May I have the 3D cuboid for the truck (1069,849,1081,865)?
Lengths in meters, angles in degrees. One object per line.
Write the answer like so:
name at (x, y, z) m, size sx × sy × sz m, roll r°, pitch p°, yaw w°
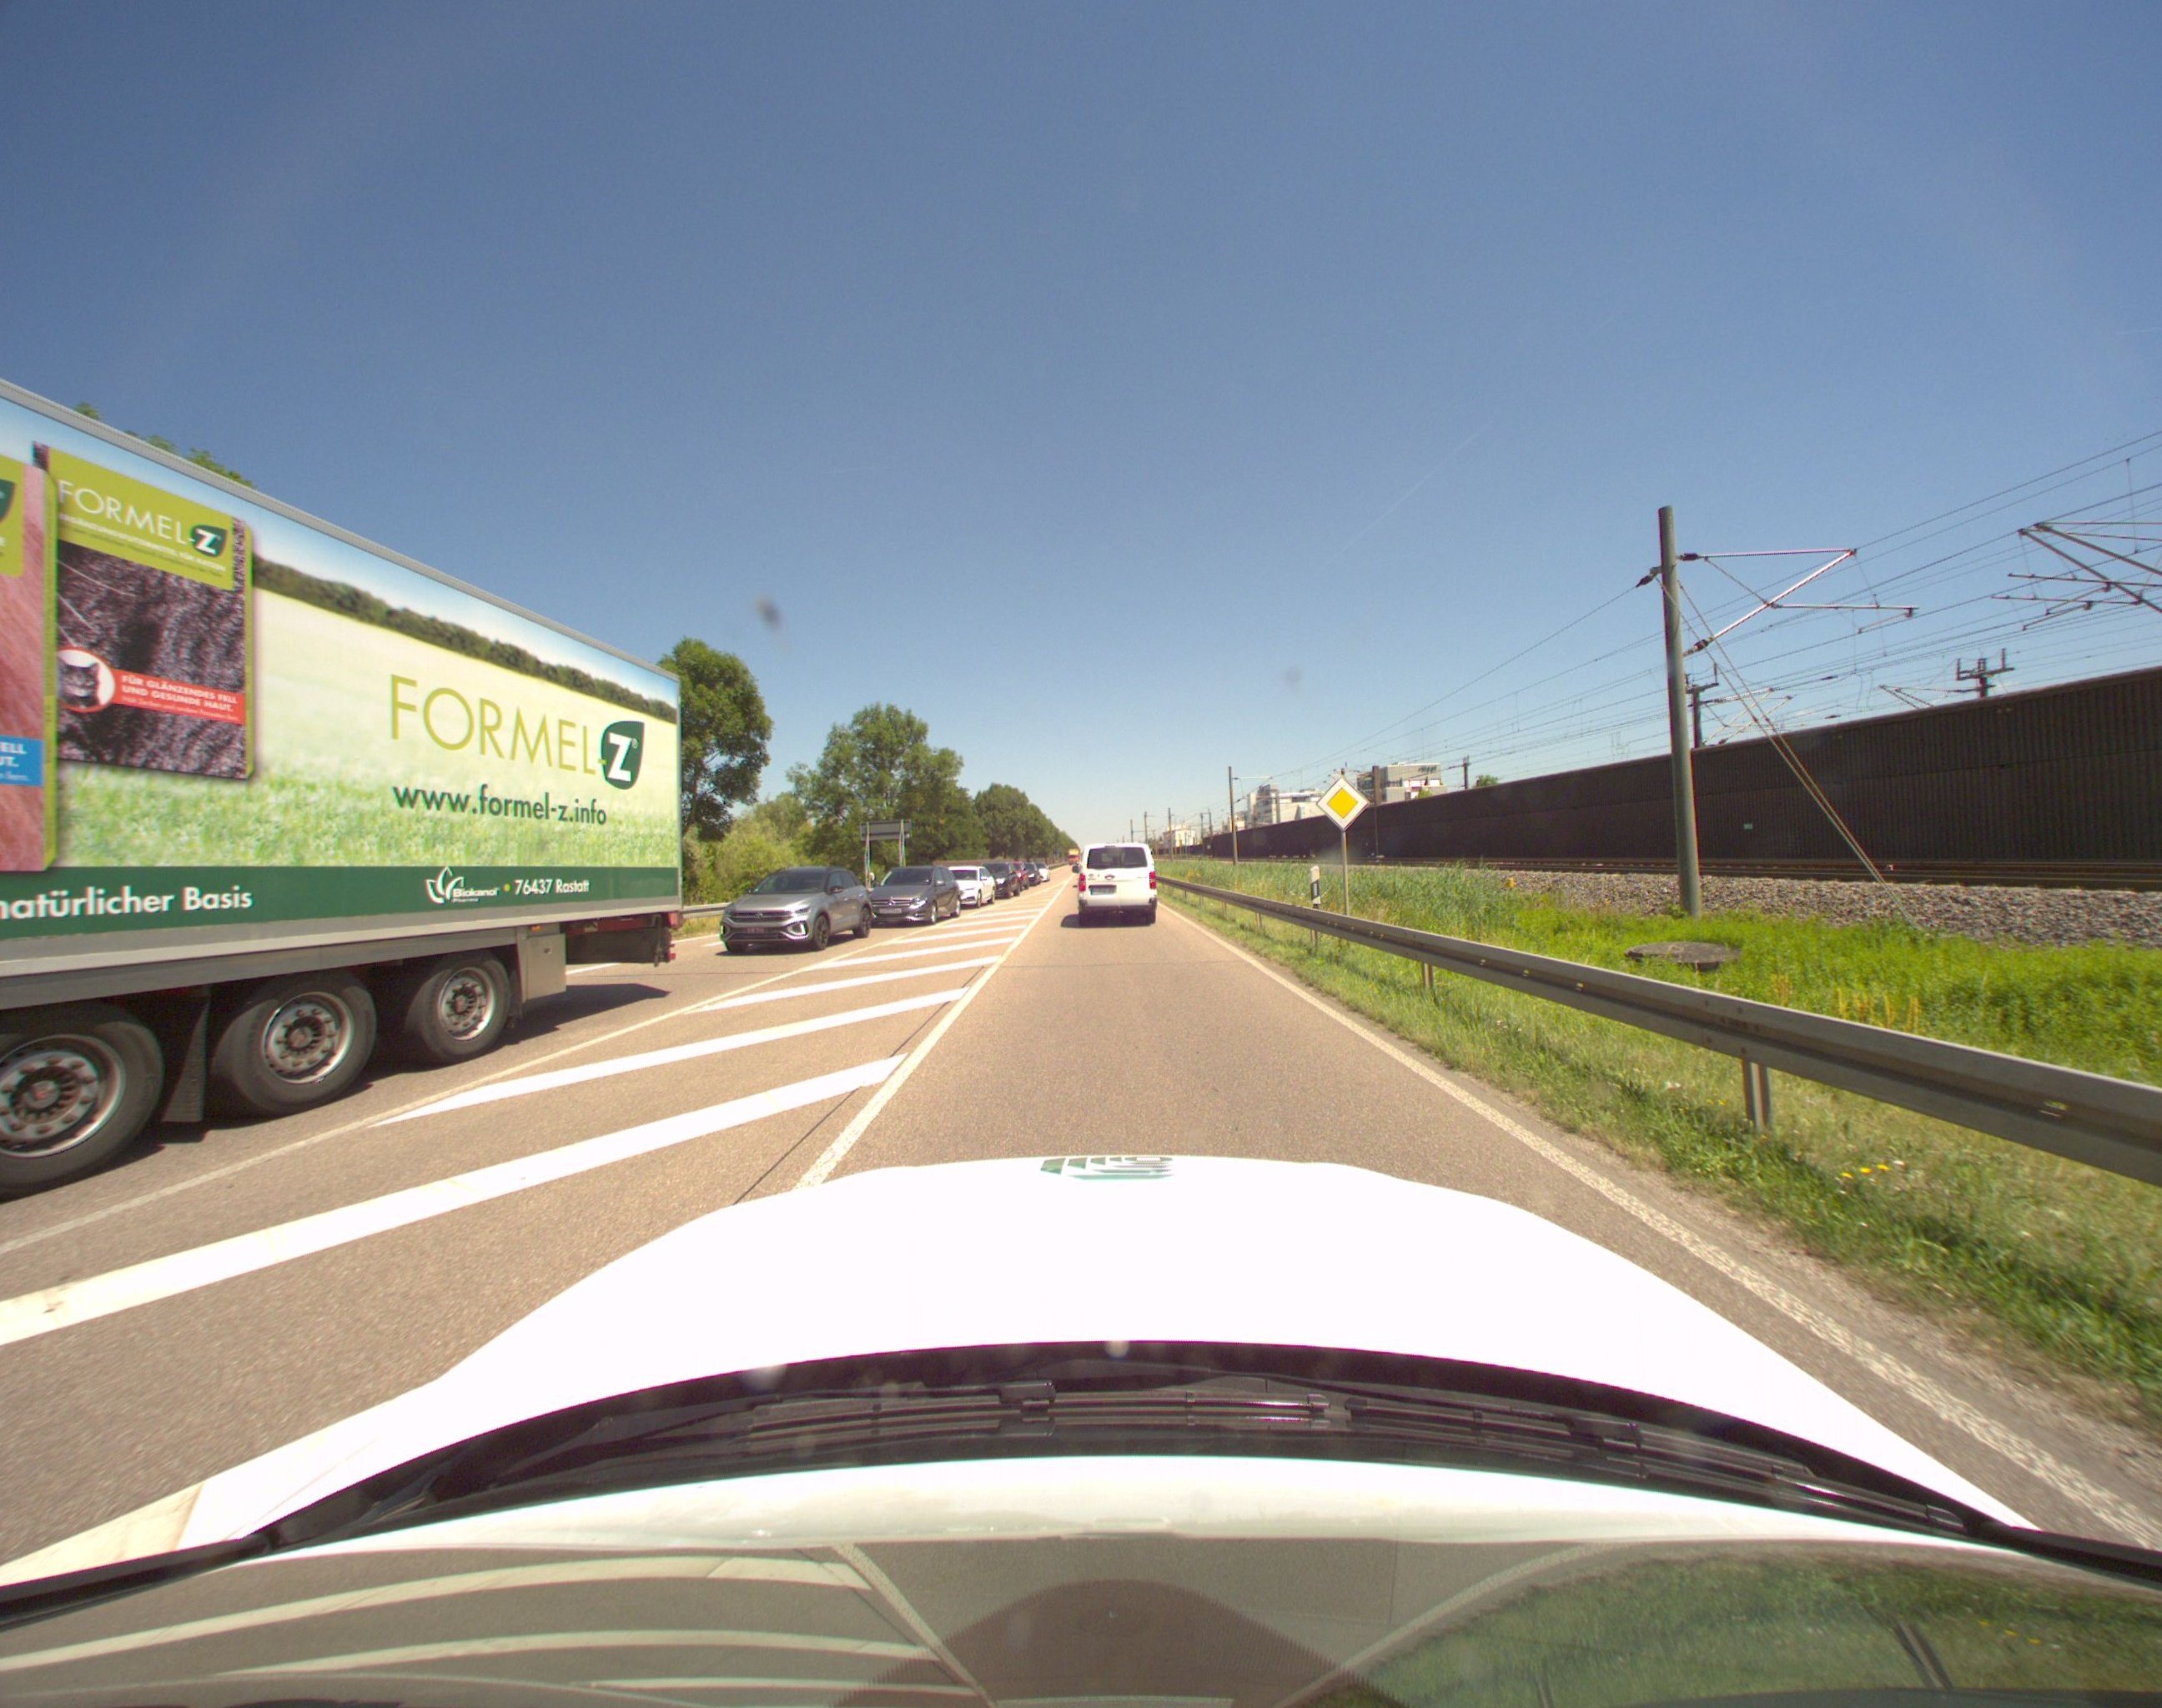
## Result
truck at (-1.473, 0.671, 205.341) m, size 2.783 × 3.840 × 9.323 m, roll -2°, pitch -1°, yaw 1°

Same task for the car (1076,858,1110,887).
car at (0.664, 1.062, 48.247) m, size 1.900 × 1.649 × 4.139 m, roll -1°, pitch 0°, yaw -1°

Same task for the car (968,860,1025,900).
car at (-3.707, 1.104, 36.401) m, size 1.709 × 1.589 × 4.539 m, roll -2°, pitch 0°, yaw 4°

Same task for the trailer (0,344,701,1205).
trailer at (-6.424, -0.364, 3.315) m, size 2.679 × 4.045 × 14.130 m, roll -1°, pitch -1°, yaw 2°

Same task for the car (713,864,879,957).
car at (-5.570, 1.032, 16.504) m, size 1.705 × 1.562 × 4.157 m, roll -2°, pitch 0°, yaw 2°

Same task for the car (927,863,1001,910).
car at (-4.151, 1.119, 29.613) m, size 1.646 × 1.479 × 4.635 m, roll -2°, pitch 0°, yaw 4°

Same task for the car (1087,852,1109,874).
car at (1.628, 0.873, 78.473) m, size 2.000 × 2.022 × 4.784 m, roll -2°, pitch 0°, yaw 1°

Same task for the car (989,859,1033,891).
car at (-3.809, 1.122, 44.787) m, size 1.748 × 1.631 × 4.283 m, roll -2°, pitch 0°, yaw 4°

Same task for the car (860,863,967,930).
car at (-4.431, 1.070, 22.211) m, size 1.616 × 1.537 × 4.390 m, roll -3°, pitch 0°, yaw 5°

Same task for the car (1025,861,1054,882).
car at (-3.023, 1.267, 59.458) m, size 1.679 × 1.460 × 4.618 m, roll -1°, pitch 0°, yaw 2°

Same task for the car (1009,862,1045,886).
car at (-3.395, 1.238, 51.859) m, size 1.678 × 1.460 × 4.619 m, roll -1°, pitch 0°, yaw 3°

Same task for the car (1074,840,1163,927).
car at (0.864, 0.691, 20.784) m, size 1.939 × 1.881 × 4.880 m, roll -2°, pitch -1°, yaw 0°
